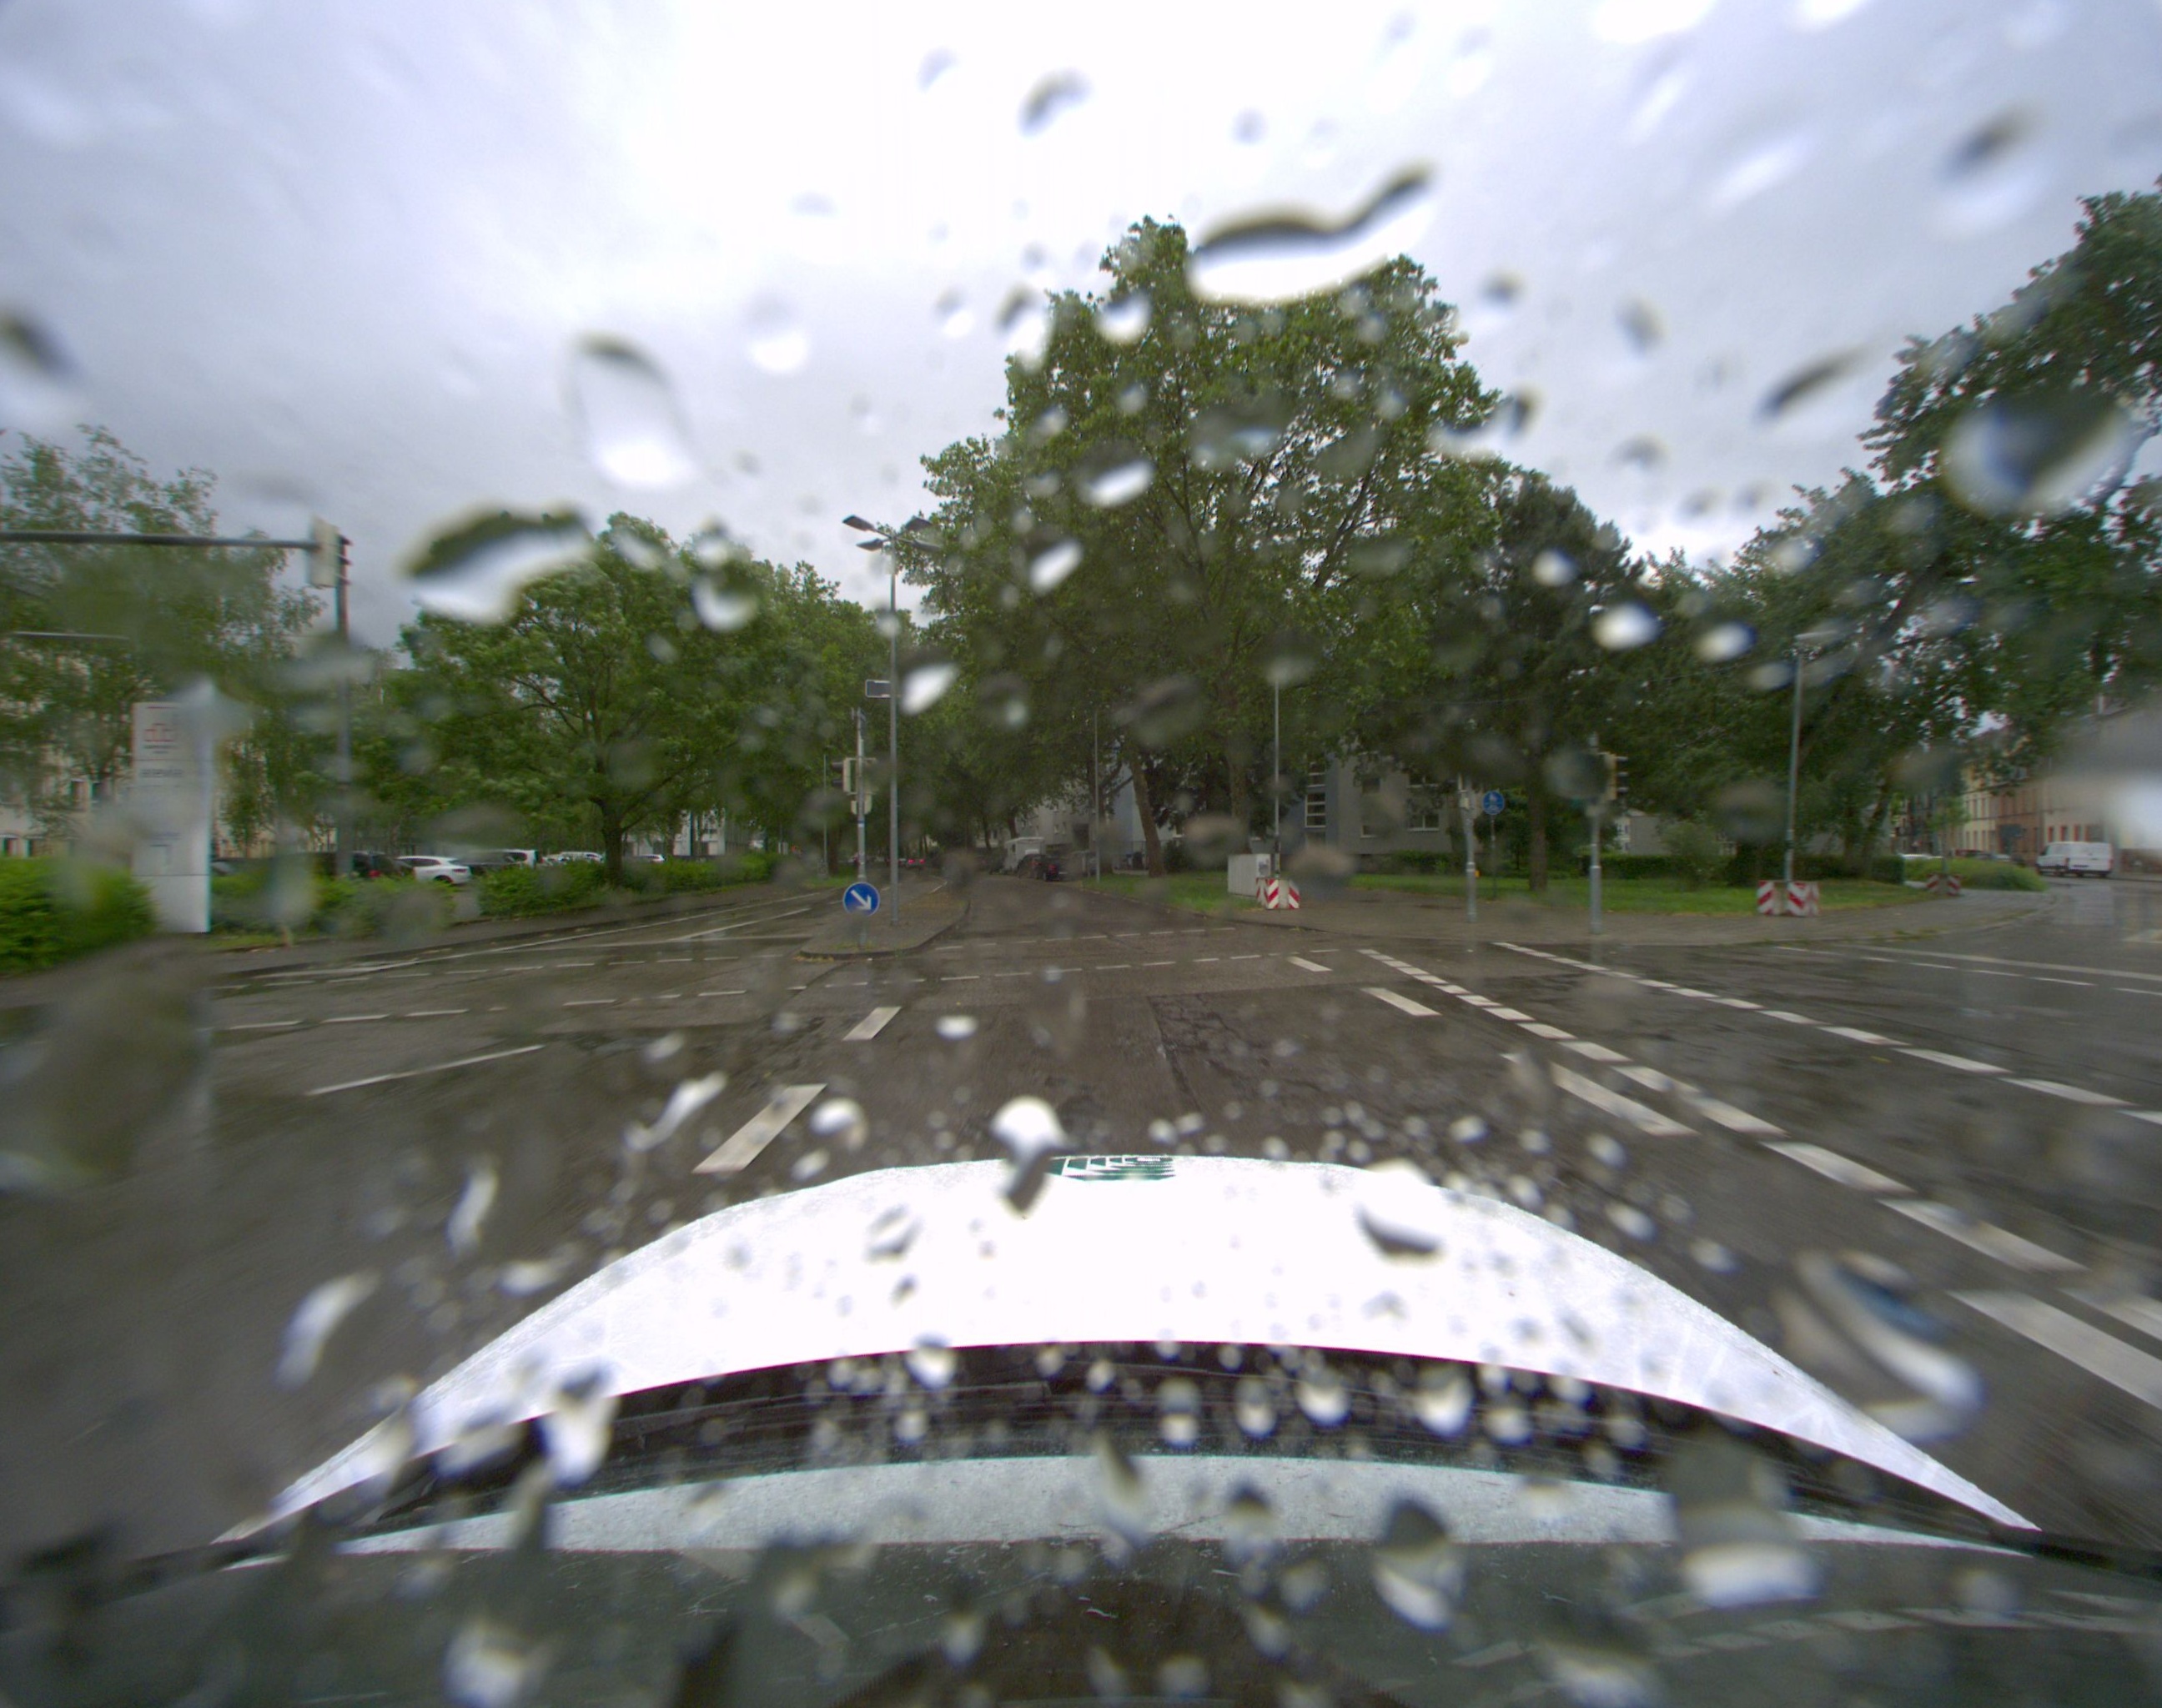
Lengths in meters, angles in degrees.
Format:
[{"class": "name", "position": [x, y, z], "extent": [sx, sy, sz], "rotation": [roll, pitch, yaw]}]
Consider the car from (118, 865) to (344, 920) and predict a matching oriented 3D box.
[{"class": "car", "position": [-23.353, 1.028, 22.535], "extent": [3.981, 1.423, 1.920], "rotation": [0, 0, -6]}]

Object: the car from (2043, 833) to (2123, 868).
[{"class": "car", "position": [65.211, -0.224, 53.116], "extent": [2.327, 2.208, 4.642], "rotation": [0, 0, 38]}]

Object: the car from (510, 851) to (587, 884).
[{"class": "car", "position": [-37.195, 0.945, 56.975], "extent": [3.996, 2.133, 1.989], "rotation": [-1, 1, -17]}]

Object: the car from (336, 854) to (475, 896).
[{"class": "car", "position": [-28.032, 0.842, 33.977], "extent": [4.002, 1.638, 1.986], "rotation": [0, 0, -21]}]

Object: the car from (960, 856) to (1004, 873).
[{"class": "car", "position": [-9.651, 0.981, 79.685], "extent": [1.780, 1.601, 4.024], "rotation": [1, 0, 42]}]

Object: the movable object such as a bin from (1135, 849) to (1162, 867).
[{"class": "movable object such as a bin", "position": [5.408, 0.301, 65.174], "extent": [1.222, 1.432, 1.843], "rotation": [0, 0, -35]}]

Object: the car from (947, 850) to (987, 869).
[{"class": "car", "position": [-12.086, 0.550, 86.241], "extent": [1.815, 1.697, 3.891], "rotation": [1, 3, 45]}]

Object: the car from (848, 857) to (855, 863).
[{"class": "car", "position": [-59.565, 1.504, 211.317], "extent": [1.683, 1.388, 4.523], "rotation": [-2, 1, -17]}]

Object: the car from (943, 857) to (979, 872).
[{"class": "car", "position": [-14.146, 1.220, 95.870], "extent": [3.996, 1.727, 1.791], "rotation": [0, 0, -17]}]

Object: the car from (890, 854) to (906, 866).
[{"class": "car", "position": [-25.403, 0.819, 113.020], "extent": [1.710, 1.411, 3.623], "rotation": [-3, 1, -18]}]

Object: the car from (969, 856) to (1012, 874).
[{"class": "car", "position": [-8.432, 0.990, 76.102], "extent": [1.780, 1.601, 3.792], "rotation": [1, 0, 42]}]

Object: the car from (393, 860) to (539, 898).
[{"class": "car", "position": [-22.742, 0.922, 30.251], "extent": [3.982, 1.338, 1.713], "rotation": [0, 0, -6]}]

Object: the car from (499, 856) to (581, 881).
[{"class": "car", "position": [-34.813, 0.900, 52.509], "extent": [3.994, 1.550, 1.876], "rotation": [0, 0, -15]}]

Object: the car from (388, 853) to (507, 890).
[{"class": "car", "position": [-29.217, 0.776, 37.689], "extent": [3.997, 1.638, 1.699], "rotation": [0, 0, -18]}]

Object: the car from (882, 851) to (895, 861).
[{"class": "car", "position": [-30.866, 0.316, 130.220], "extent": [1.710, 1.411, 3.623], "rotation": [-3, 1, -18]}]

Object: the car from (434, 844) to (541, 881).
[{"class": "car", "position": [-30.098, 0.417, 41.426], "extent": [4.002, 1.833, 1.842], "rotation": [0, 0, -21]}]

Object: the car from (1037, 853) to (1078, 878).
[{"class": "car", "position": [-1.462, 0.627, 48.416], "extent": [1.551, 1.390, 4.128], "rotation": [0, 0, -15]}]

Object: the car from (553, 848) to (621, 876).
[{"class": "car", "position": [-37.852, 0.588, 62.531], "extent": [3.996, 2.013, 1.989], "rotation": [-1, 1, -17]}]

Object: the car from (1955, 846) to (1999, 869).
[{"class": "car", "position": [81.025, 0.289, 73.715], "extent": [1.974, 2.013, 4.025], "rotation": [0, 0, 37]}]

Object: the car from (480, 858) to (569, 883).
[{"class": "car", "position": [-33.297, 0.952, 48.835], "extent": [3.994, 1.374, 1.876], "rotation": [-1, 0, -15]}]

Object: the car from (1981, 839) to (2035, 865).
[{"class": "car", "position": [74.207, -0.196, 65.271], "extent": [2.096, 2.013, 4.025], "rotation": [0, 0, 37]}]

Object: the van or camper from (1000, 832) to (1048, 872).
[{"class": "van or camper", "position": [-4.354, -0.173, 61.295], "extent": [2.323, 2.807, 6.827], "rotation": [0, 0, -16]}]

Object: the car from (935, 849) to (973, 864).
[{"class": "car", "position": [-15.518, 0.334, 99.235], "extent": [4.349, 1.762, 1.808], "rotation": [0, 0, -18]}]

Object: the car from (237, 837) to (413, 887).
[{"class": "car", "position": [-25.174, 0.262, 27.279], "extent": [3.992, 1.611, 1.644], "rotation": [0, 0, -14]}]

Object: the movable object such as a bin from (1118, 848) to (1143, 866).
[{"class": "movable object such as a bin", "position": [4.043, 0.272, 66.522], "extent": [1.222, 1.432, 1.843], "rotation": [0, 0, -35]}]

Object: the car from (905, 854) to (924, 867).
[{"class": "car", "position": [-18.925, 0.707, 92.453], "extent": [1.710, 1.411, 3.623], "rotation": [-3, 1, -18]}]

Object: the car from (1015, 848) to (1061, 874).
[{"class": "car", "position": [-2.909, 0.473, 53.692], "extent": [1.921, 1.620, 4.425], "rotation": [0, -1, -19]}]
